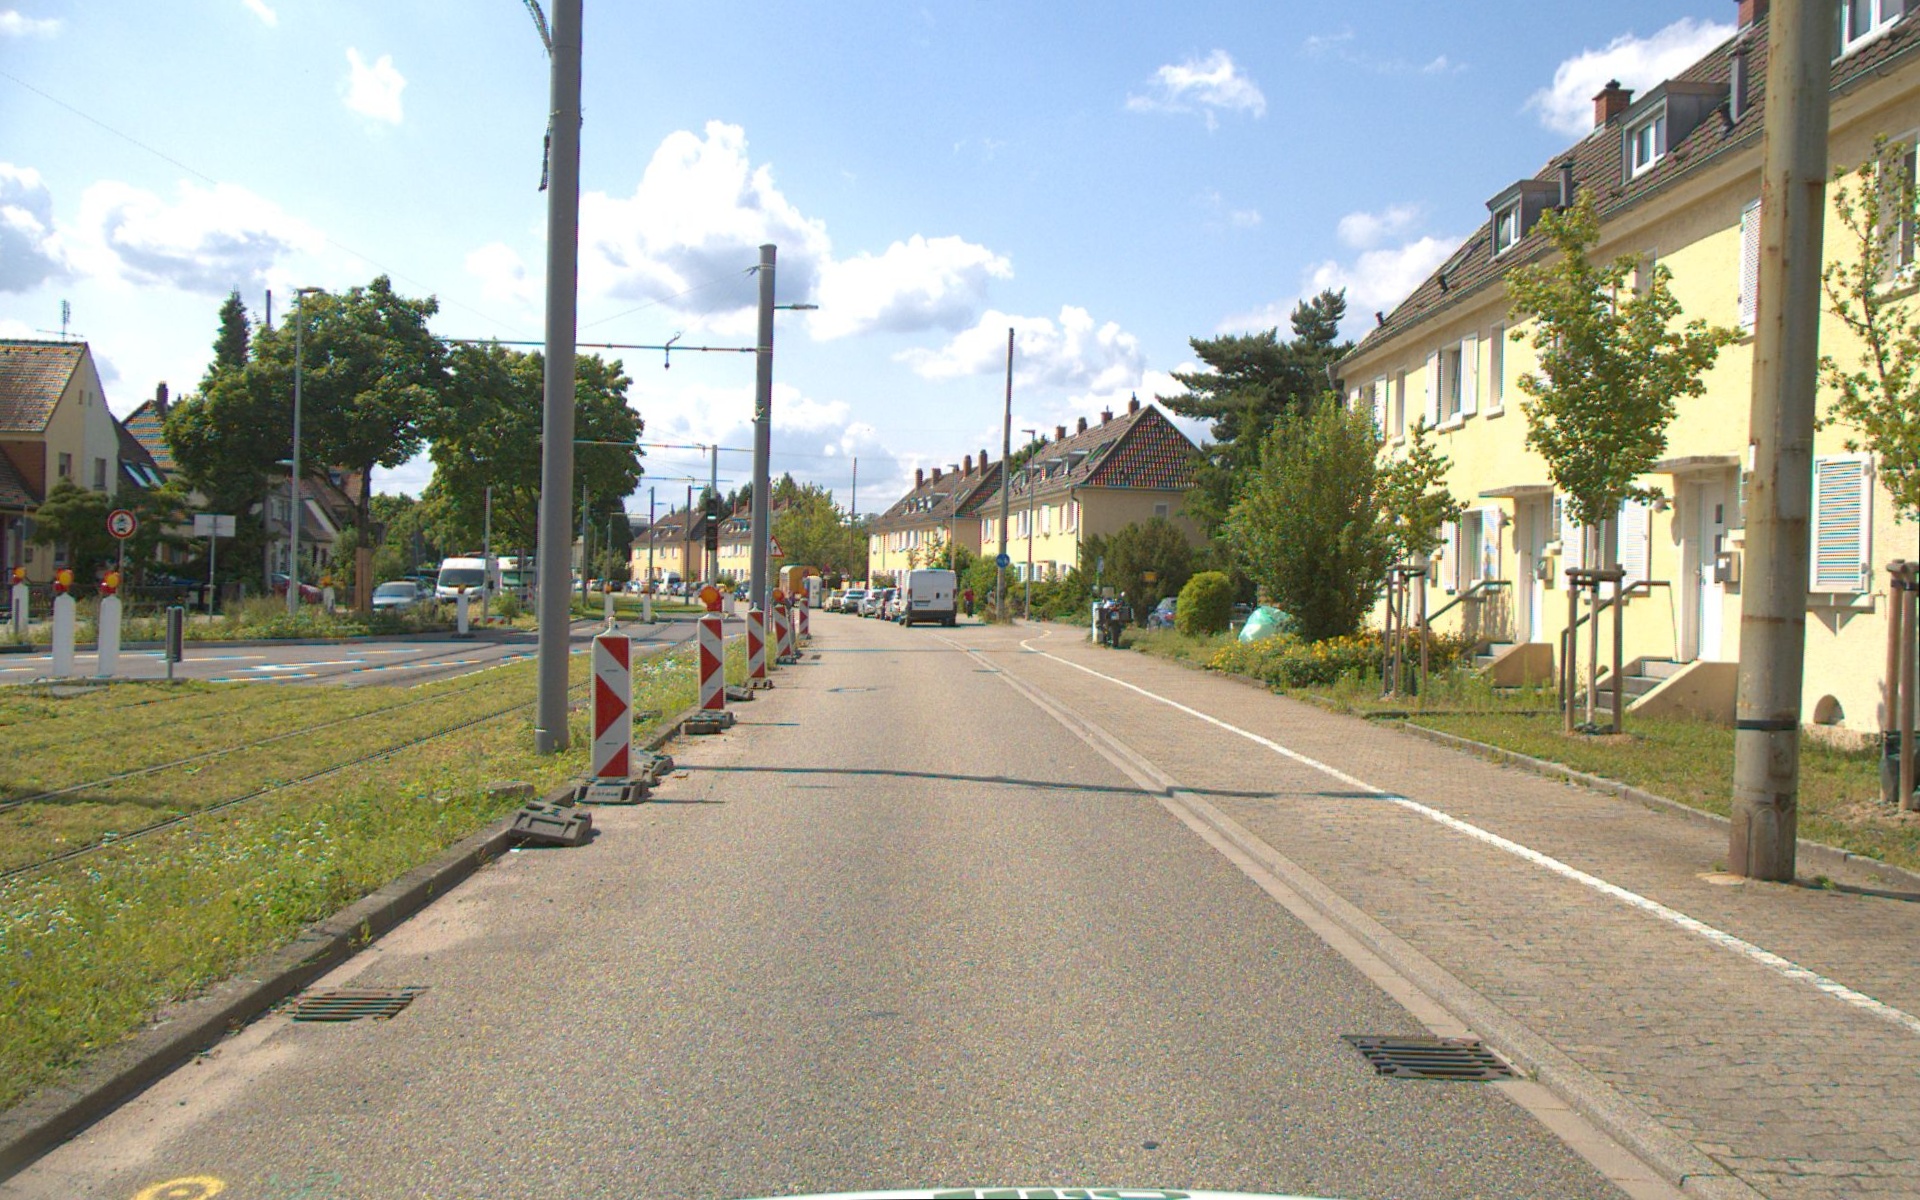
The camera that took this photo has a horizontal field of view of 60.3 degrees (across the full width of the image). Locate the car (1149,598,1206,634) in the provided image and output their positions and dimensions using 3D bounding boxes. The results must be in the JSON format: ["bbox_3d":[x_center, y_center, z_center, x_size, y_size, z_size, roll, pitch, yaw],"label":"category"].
[{"bbox_3d":[6.745,0.493,51.563,1.285,1.047,2.768,1,0,-3],"label":"car"}]

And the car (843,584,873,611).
[{"bbox_3d":[-6.142,-0.151,99.622,1.538,1.578,3.472,1,0,-8],"label":"car"}]

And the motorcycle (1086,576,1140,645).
[{"bbox_3d":[3.837,0.258,41.578,1.045,1.664,2.082,1,0,-3],"label":"motorcycle"}]

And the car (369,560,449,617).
[{"bbox_3d":[-18.588,-0.385,55.998,2.057,1.807,4.109,1,0,-12],"label":"car"}]

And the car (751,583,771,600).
[{"bbox_3d":[-17.009,-0.725,141.475,1.238,1.451,2.652,1,0,-18],"label":"car"}]

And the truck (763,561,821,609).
[{"bbox_3d":[-13.238,-1.169,129.363,2.599,3.555,9.390,1,0,-18],"label":"truck"}]

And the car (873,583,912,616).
[{"bbox_3d":[-3.386,-0.064,82.391,1.538,1.578,3.782,1,0,-8],"label":"car"}]

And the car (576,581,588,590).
[{"bbox_3d":[-51.326,-1.999,224.565,1.239,1.207,2.649,1,0,-21],"label":"car"}]

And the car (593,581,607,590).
[{"bbox_3d":[-46.893,-1.882,215.393,1.242,1.162,2.644,1,0,-25],"label":"car"}]

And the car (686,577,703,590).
[{"bbox_3d":[-27.825,-1.736,173.448,1.239,1.374,2.648,1,0,-21],"label":"car"}]

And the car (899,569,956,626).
[{"bbox_3d":[-1.373,-0.112,67.518,2.025,2.186,4.874,1,0,-4],"label":"car"}]

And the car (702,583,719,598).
[{"bbox_3d":[-25.423,-0.960,168.529,1.239,1.451,2.648,1,0,-21],"label":"car"}]

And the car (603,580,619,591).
[{"bbox_3d":[-44.251,-1.832,209.647,1.244,1.451,2.640,1,0,-29],"label":"car"}]

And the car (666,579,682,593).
[{"bbox_3d":[-31.398,-1.565,181.449,1.150,1.451,2.647,1,0,-22],"label":"car"}]

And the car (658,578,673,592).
[{"bbox_3d":[-33.056,-1.682,185.582,1.150,1.451,2.647,1,0,-22],"label":"car"}]

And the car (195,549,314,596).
[{"bbox_3d":[-29.170,-1.117,68.519,4.028,1.807,2.099,1,0,-6],"label":"car"}]

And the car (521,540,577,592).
[{"bbox_3d":[-19.769,-1.634,79.668,2.364,2.411,4.865,1,1,-12],"label":"car"}]

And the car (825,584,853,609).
[{"bbox_3d":[-7.782,-0.220,105.947,1.538,1.578,3.472,1,0,-8],"label":"car"}]

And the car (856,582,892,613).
[{"bbox_3d":[-4.588,-0.152,87.789,1.538,1.578,3.782,1,0,-8],"label":"car"}]

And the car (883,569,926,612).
[{"bbox_3d":[-2.606,-0.461,77.047,1.538,1.930,3.782,1,0,-8],"label":"car"}]

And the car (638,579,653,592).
[{"bbox_3d":[-37.260,-1.732,196.001,1.240,1.451,2.647,1,0,-23],"label":"car"}]

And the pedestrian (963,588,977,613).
[{"bbox_3d":[0.512,0.023,86.339,0.620,1.277,0.725,1,0,-10],"label":"pedestrian"}]

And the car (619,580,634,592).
[{"bbox_3d":[-40.933,-1.702,203.030,1.241,1.451,2.644,1,0,-25],"label":"car"}]

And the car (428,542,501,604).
[{"bbox_3d":[-20.169,-1.071,67.522,2.364,2.379,4.865,1,0,-12],"label":"car"}]

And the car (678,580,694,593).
[{"bbox_3d":[-29.361,-1.436,177.267,1.239,1.374,2.648,1,0,-21],"label":"car"}]
